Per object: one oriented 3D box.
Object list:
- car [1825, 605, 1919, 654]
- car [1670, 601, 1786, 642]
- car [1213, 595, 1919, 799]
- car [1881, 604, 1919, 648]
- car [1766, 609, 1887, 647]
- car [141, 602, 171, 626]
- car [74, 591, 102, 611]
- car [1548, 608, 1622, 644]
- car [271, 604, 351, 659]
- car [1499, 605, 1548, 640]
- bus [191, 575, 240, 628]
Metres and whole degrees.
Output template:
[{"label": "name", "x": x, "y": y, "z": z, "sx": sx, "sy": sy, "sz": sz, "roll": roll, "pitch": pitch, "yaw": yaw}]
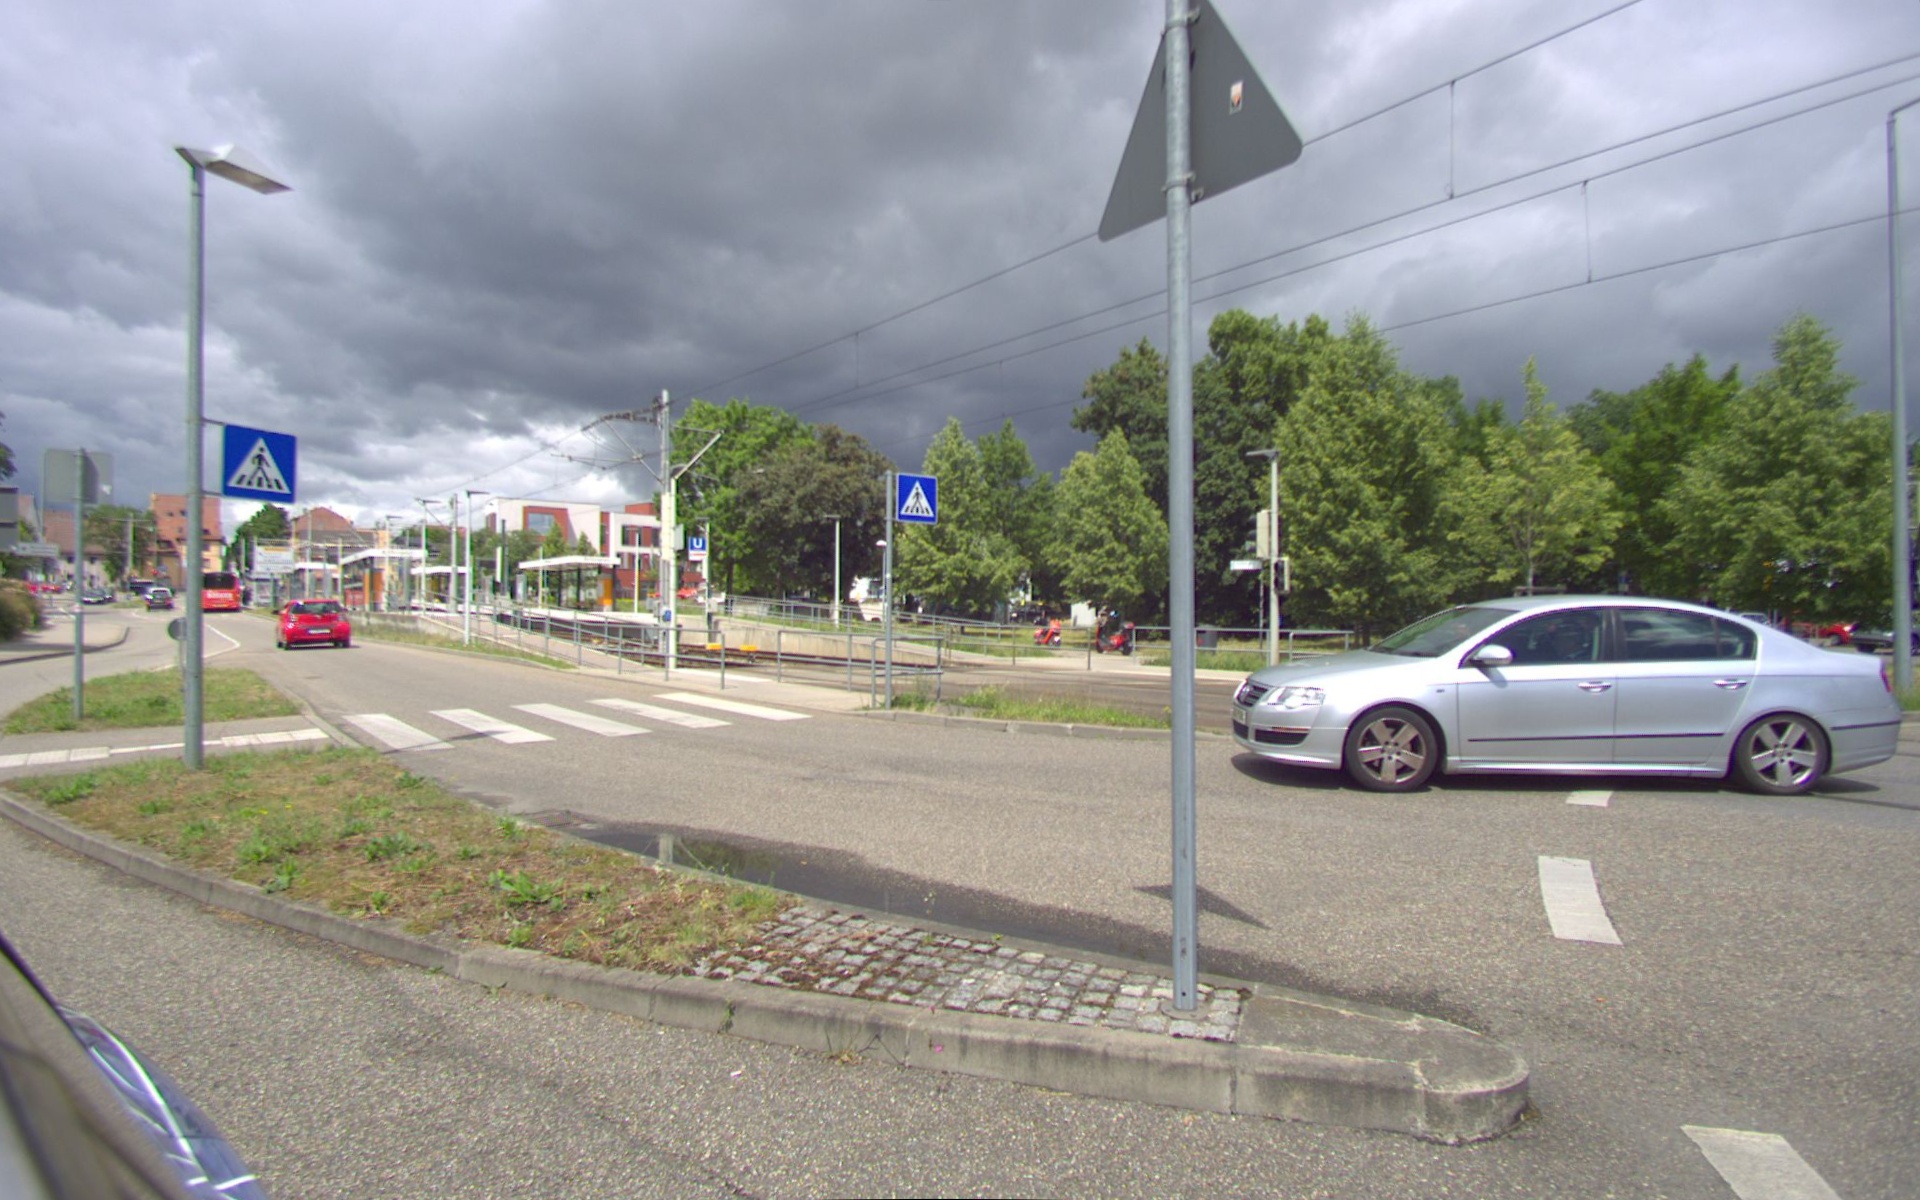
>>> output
[{"label": "car", "x": 34.627, "y": 1.067, "z": 37.733, "sx": 1.977, "sy": 1.602, "sz": 3.575, "roll": 1, "pitch": 1, "yaw": 9}, {"label": "car", "x": 32.932, "y": 0.921, "z": 43.562, "sx": 1.973, "sy": 1.697, "sz": 3.998, "roll": 0, "pitch": -1, "yaw": 2}, {"label": "car", "x": 4.548, "y": 0.679, "z": 8.019, "sx": 4.599, "sy": 1.392, "sz": 1.940, "roll": 0, "pitch": 0, "yaw": 3}, {"label": "car", "x": 37.122, "y": 1.001, "z": 38.051, "sx": 1.977, "sy": 1.602, "sz": 3.575, "roll": 1, "pitch": 1, "yaw": 9}, {"label": "car", "x": 38.538, "y": 1.235, "z": 45.104, "sx": 1.966, "sy": 1.602, "sz": 3.595, "roll": 2, "pitch": -2, "yaw": -16}, {"label": "car", "x": -65.221, "y": 1.151, "z": 82.134, "sx": 1.822, "sy": 1.942, "sz": 3.785, "roll": 1, "pitch": -1, "yaw": -38}, {"label": "car", "x": -87.834, "y": 0.127, "z": 101.960, "sx": 1.968, "sy": 1.874, "sz": 4.008, "roll": 1, "pitch": -1, "yaw": -39}, {"label": "car", "x": 28.814, "y": 1.204, "z": 46.662, "sx": 3.559, "sy": 1.602, "sz": 1.633, "roll": 2, "pitch": -2, "yaw": -35}, {"label": "car", "x": -19.415, "y": 0.887, "z": 30.240, "sx": 1.711, "sy": 1.521, "sz": 3.522, "roll": -1, "pitch": 0, "yaw": -38}, {"label": "car", "x": 27.036, "y": 1.096, "z": 48.480, "sx": 1.626, "sy": 1.602, "sz": 3.575, "roll": 0, "pitch": -2, "yaw": 36}, {"label": "bus", "x": -58.145, "y": 0.191, "z": 78.977, "sx": 2.878, "sy": 3.916, "sz": 10.401, "roll": 1, "pitch": -1, "yaw": -37}]
